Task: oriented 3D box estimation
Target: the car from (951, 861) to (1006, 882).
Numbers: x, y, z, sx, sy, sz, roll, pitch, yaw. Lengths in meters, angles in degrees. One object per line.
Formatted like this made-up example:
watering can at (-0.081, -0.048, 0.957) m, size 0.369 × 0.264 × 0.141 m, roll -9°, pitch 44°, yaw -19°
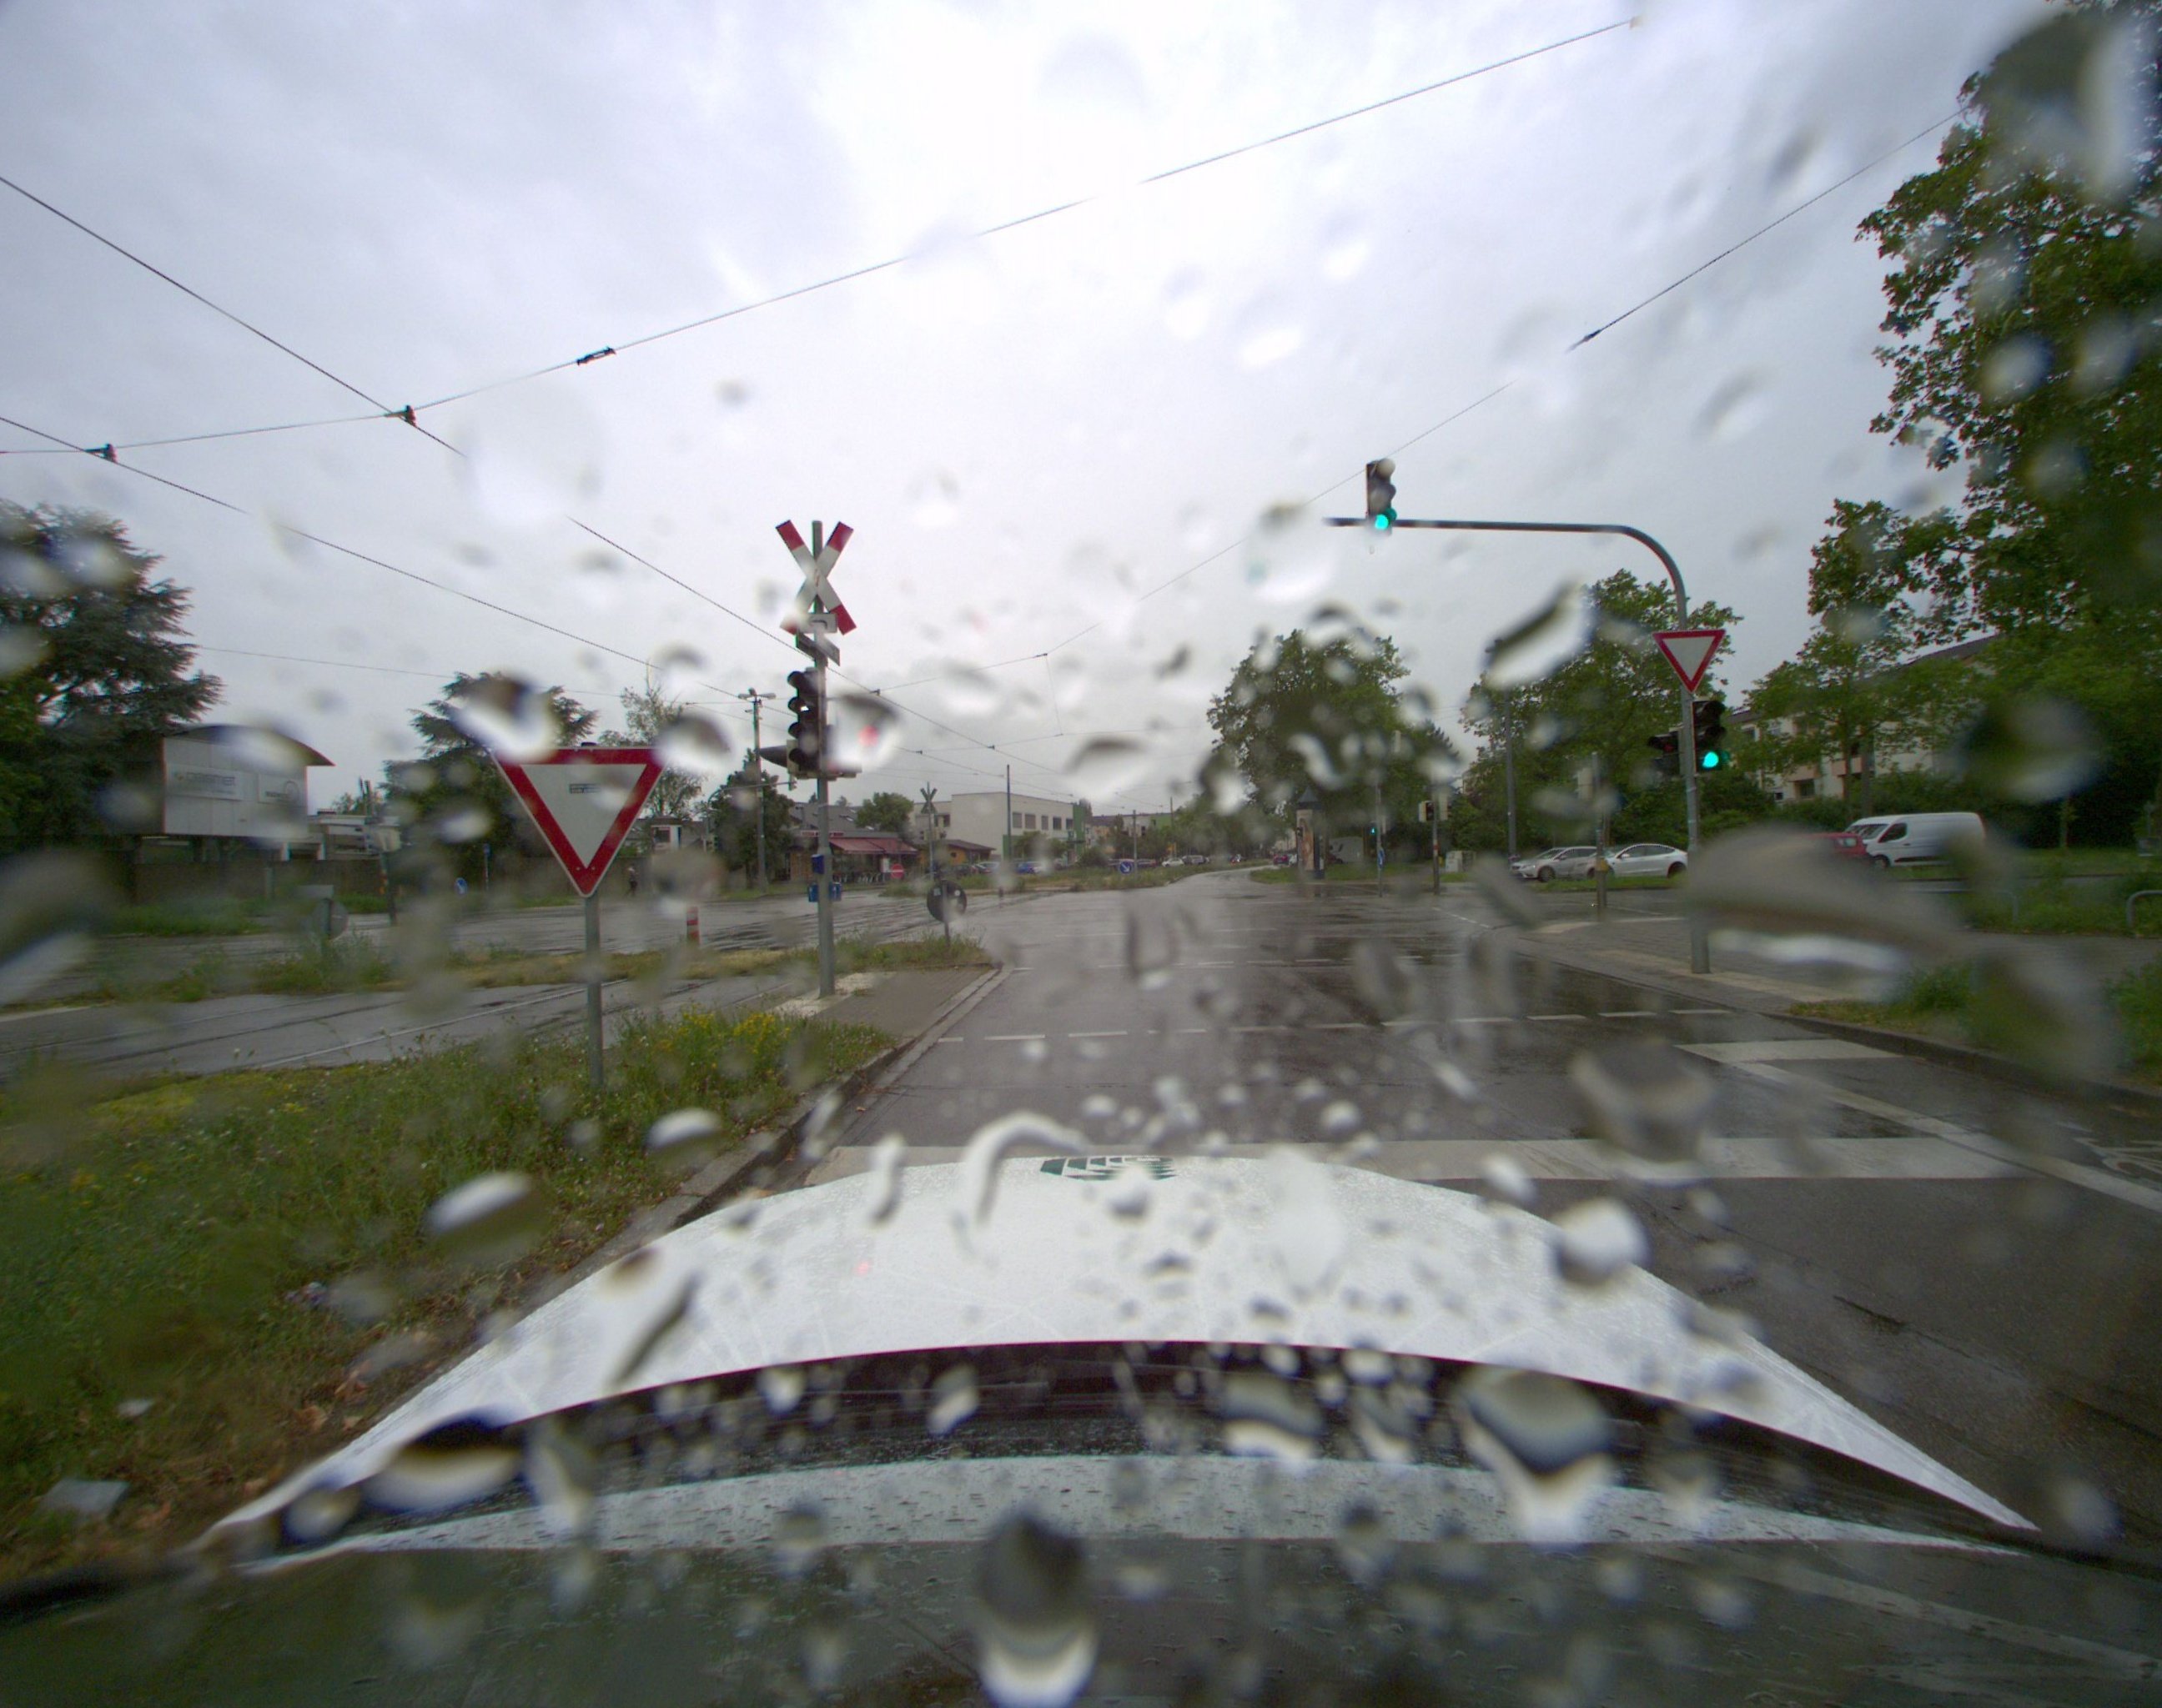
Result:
car at (-8.180, 1.397, 65.133) m, size 3.966 × 1.582 × 1.862 m, roll -2°, pitch -1°, yaw 6°

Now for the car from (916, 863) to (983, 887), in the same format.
car at (-9.562, 1.520, 59.363) m, size 4.459 × 1.418 × 1.860 m, roll -3°, pitch -1°, yaw 3°

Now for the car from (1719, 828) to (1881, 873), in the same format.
car at (26.982, -0.111, 30.655) m, size 4.589 × 1.607 × 1.790 m, roll 0°, pitch -1°, yaw -1°

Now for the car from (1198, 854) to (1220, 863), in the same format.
car at (24.966, 0.911, 158.545) m, size 3.977 × 1.832 × 1.998 m, roll 0°, pitch -1°, yaw -3°

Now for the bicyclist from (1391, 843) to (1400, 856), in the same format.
bicyclist at (37.230, -0.535, 96.444) m, size 0.854 × 1.425 × 0.961 m, roll -1°, pitch -1°, yaw 18°

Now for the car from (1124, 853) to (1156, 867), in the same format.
car at (7.957, 0.857, 110.245) m, size 3.980 × 1.887 × 1.997 m, roll 0°, pitch -1°, yaw -5°

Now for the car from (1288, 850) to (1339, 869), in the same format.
car at (22.065, 0.512, 77.199) m, size 4.405 × 1.717 × 2.011 m, roll -1°, pitch -1°, yaw 23°

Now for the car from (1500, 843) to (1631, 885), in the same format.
car at (20.186, 0.418, 34.033) m, size 4.385 × 1.691 × 1.931 m, roll 0°, pitch -1°, yaw -5°

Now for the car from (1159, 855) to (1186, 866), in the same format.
car at (14.209, 0.967, 126.631) m, size 3.772 × 1.702 × 1.832 m, roll 0°, pitch -1°, yaw -8°

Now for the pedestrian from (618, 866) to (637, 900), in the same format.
pedestrian at (-24.553, 1.546, 44.084) m, size 0.890 × 1.797 × 0.719 m, roll 0°, pitch 0°, yaw -33°

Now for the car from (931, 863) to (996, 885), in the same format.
car at (-8.861, 1.532, 61.755) m, size 4.478 × 1.418 × 1.860 m, roll -3°, pitch -1°, yaw 3°

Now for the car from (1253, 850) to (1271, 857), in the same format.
car at (44.040, -0.118, 197.903) m, size 3.977 × 1.832 × 1.998 m, roll 0°, pitch -1°, yaw -3°

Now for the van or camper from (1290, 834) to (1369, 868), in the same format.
van or camper at (24.484, -0.224, 80.148) m, size 7.261 × 3.178 × 3.278 m, roll -1°, pitch -1°, yaw 20°

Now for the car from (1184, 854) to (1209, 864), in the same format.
car at (20.414, 0.867, 144.572) m, size 3.986 × 1.759 × 2.004 m, roll 0°, pitch -1°, yaw -10°

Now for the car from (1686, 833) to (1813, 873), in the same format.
car at (28.187, -0.037, 34.405) m, size 4.048 × 1.607 × 1.788 m, roll 0°, pitch -1°, yaw -5°

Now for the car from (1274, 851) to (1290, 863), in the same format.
car at (27.965, 0.434, 113.290) m, size 1.792 × 1.686 × 3.929 m, roll -1°, pitch -1°, yaw 18°

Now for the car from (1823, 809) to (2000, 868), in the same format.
car at (35.090, -0.622, 34.501) m, size 5.589 × 2.392 × 1.999 m, roll 0°, pitch -1°, yaw -2°

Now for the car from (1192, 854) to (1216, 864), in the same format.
car at (23.228, 0.883, 153.514) m, size 3.986 × 1.832 × 1.994 m, roll 0°, pitch -1°, yaw -10°

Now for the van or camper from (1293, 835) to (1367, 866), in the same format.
van or camper at (27.244, -0.352, 89.196) m, size 7.359 × 3.178 × 3.281 m, roll -1°, pitch -1°, yaw 24°

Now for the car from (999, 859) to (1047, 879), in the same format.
car at (-5.228, 1.365, 73.196) m, size 4.112 × 1.641 × 1.922 m, roll -1°, pitch -1°, yaw -12°

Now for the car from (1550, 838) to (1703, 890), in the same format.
car at (20.473, 0.368, 30.673) m, size 4.585 × 1.828 × 1.931 m, roll 0°, pitch -1°, yaw -5°

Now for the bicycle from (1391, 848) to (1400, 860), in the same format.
bicycle at (37.188, -0.016, 96.291) m, size 0.854 × 1.425 × 2.716 m, roll -1°, pitch -1°, yaw 19°

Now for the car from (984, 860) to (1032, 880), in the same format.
car at (-6.292, 1.377, 70.044) m, size 3.986 × 1.582 × 1.924 m, roll -2°, pitch -1°, yaw -9°

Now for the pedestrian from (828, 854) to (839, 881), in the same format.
pedestrian at (-18.674, 1.026, 61.359) m, size 0.726 × 2.014 × 0.789 m, roll 0°, pitch -1°, yaw -21°
